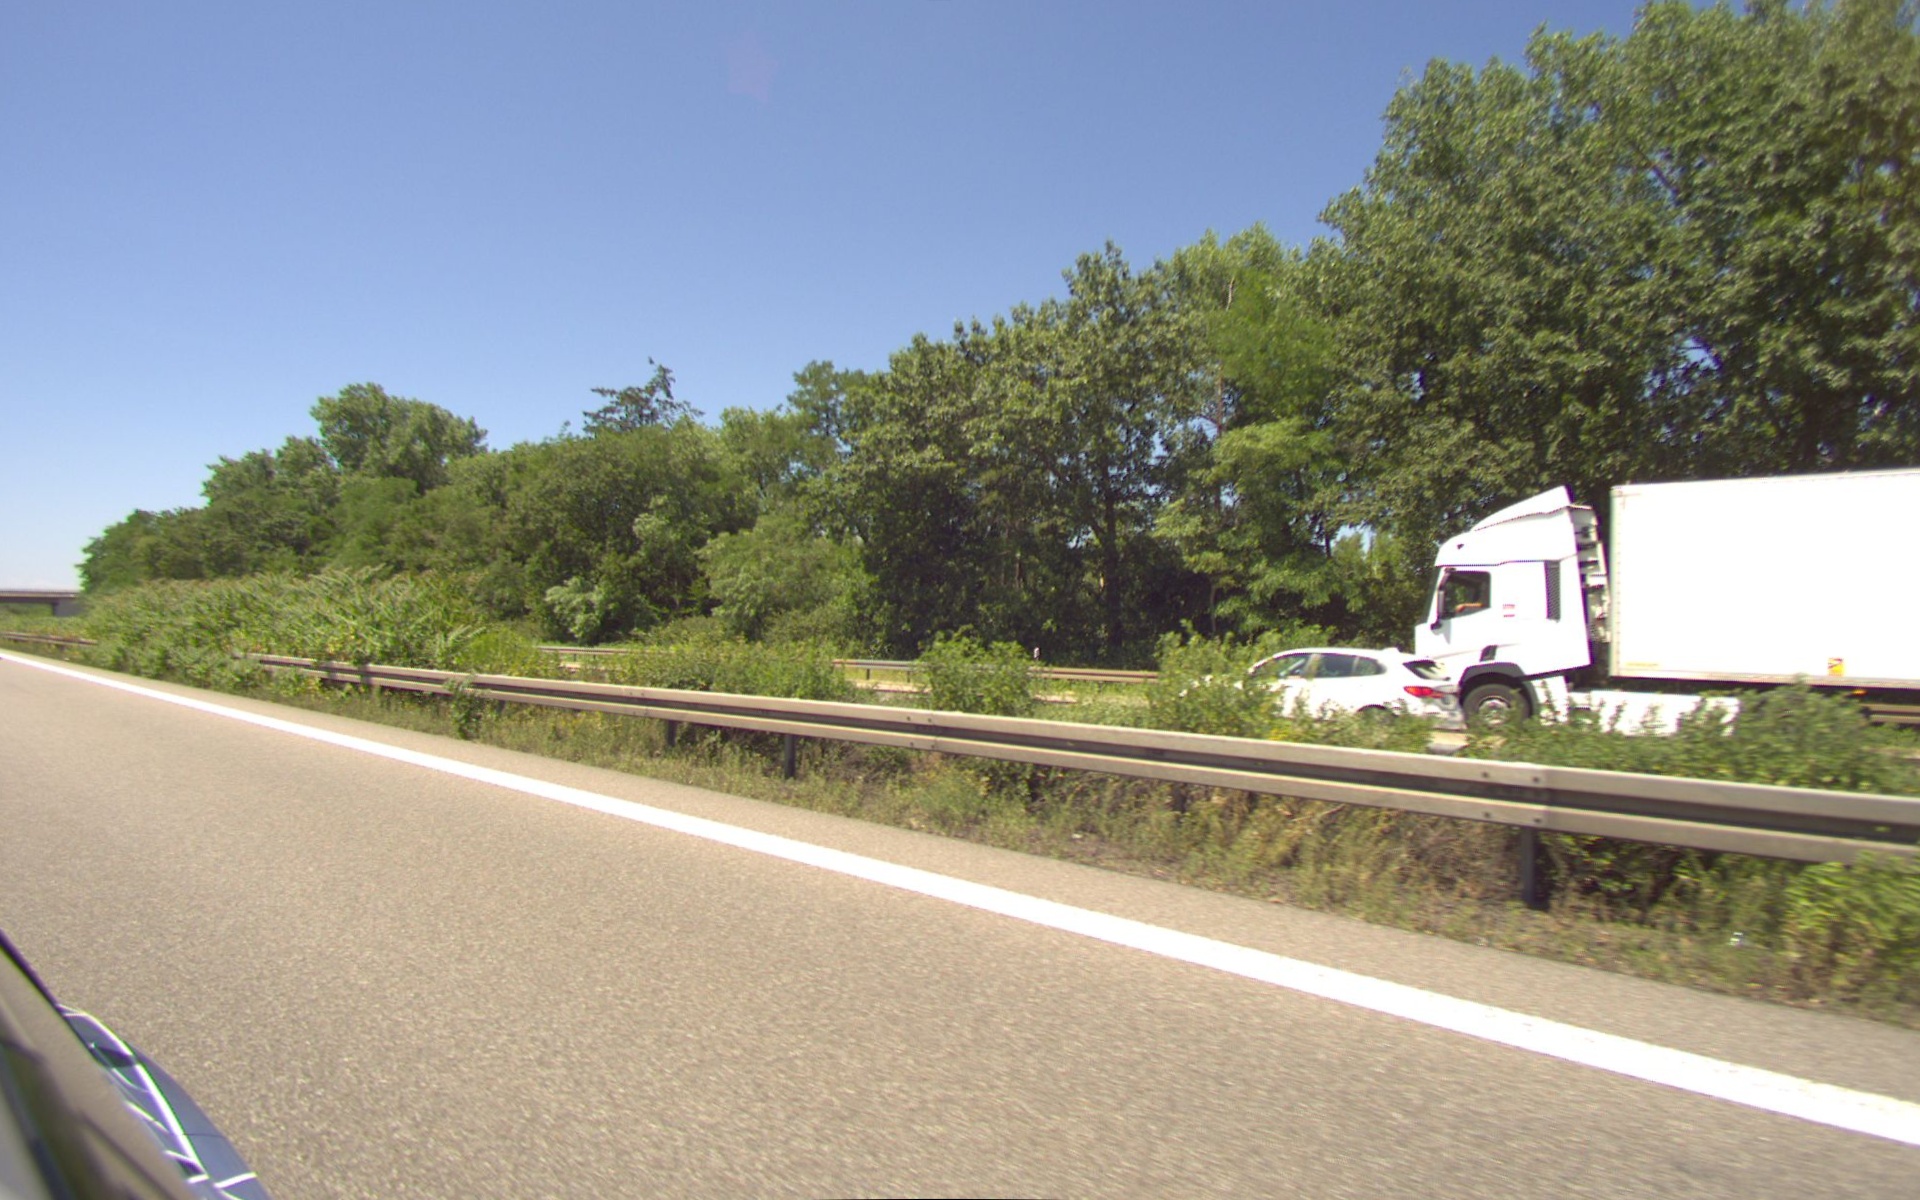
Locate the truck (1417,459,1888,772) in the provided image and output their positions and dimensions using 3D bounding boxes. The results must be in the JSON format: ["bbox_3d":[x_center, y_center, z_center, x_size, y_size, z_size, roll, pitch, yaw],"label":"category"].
[{"bbox_3d":[10.770,0.289,16.175,5.859,4.122,2.458,-1,-4,42],"label":"truck"}]

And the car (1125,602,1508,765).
[{"bbox_3d":[5.237,1.124,15.351,5.083,2.070,2.102,-1,-2,41],"label":"car"}]

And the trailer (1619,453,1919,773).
[{"bbox_3d":[16.050,0.182,11.409,14.243,4.121,2.510,-1,-4,42],"label":"trailer"}]
